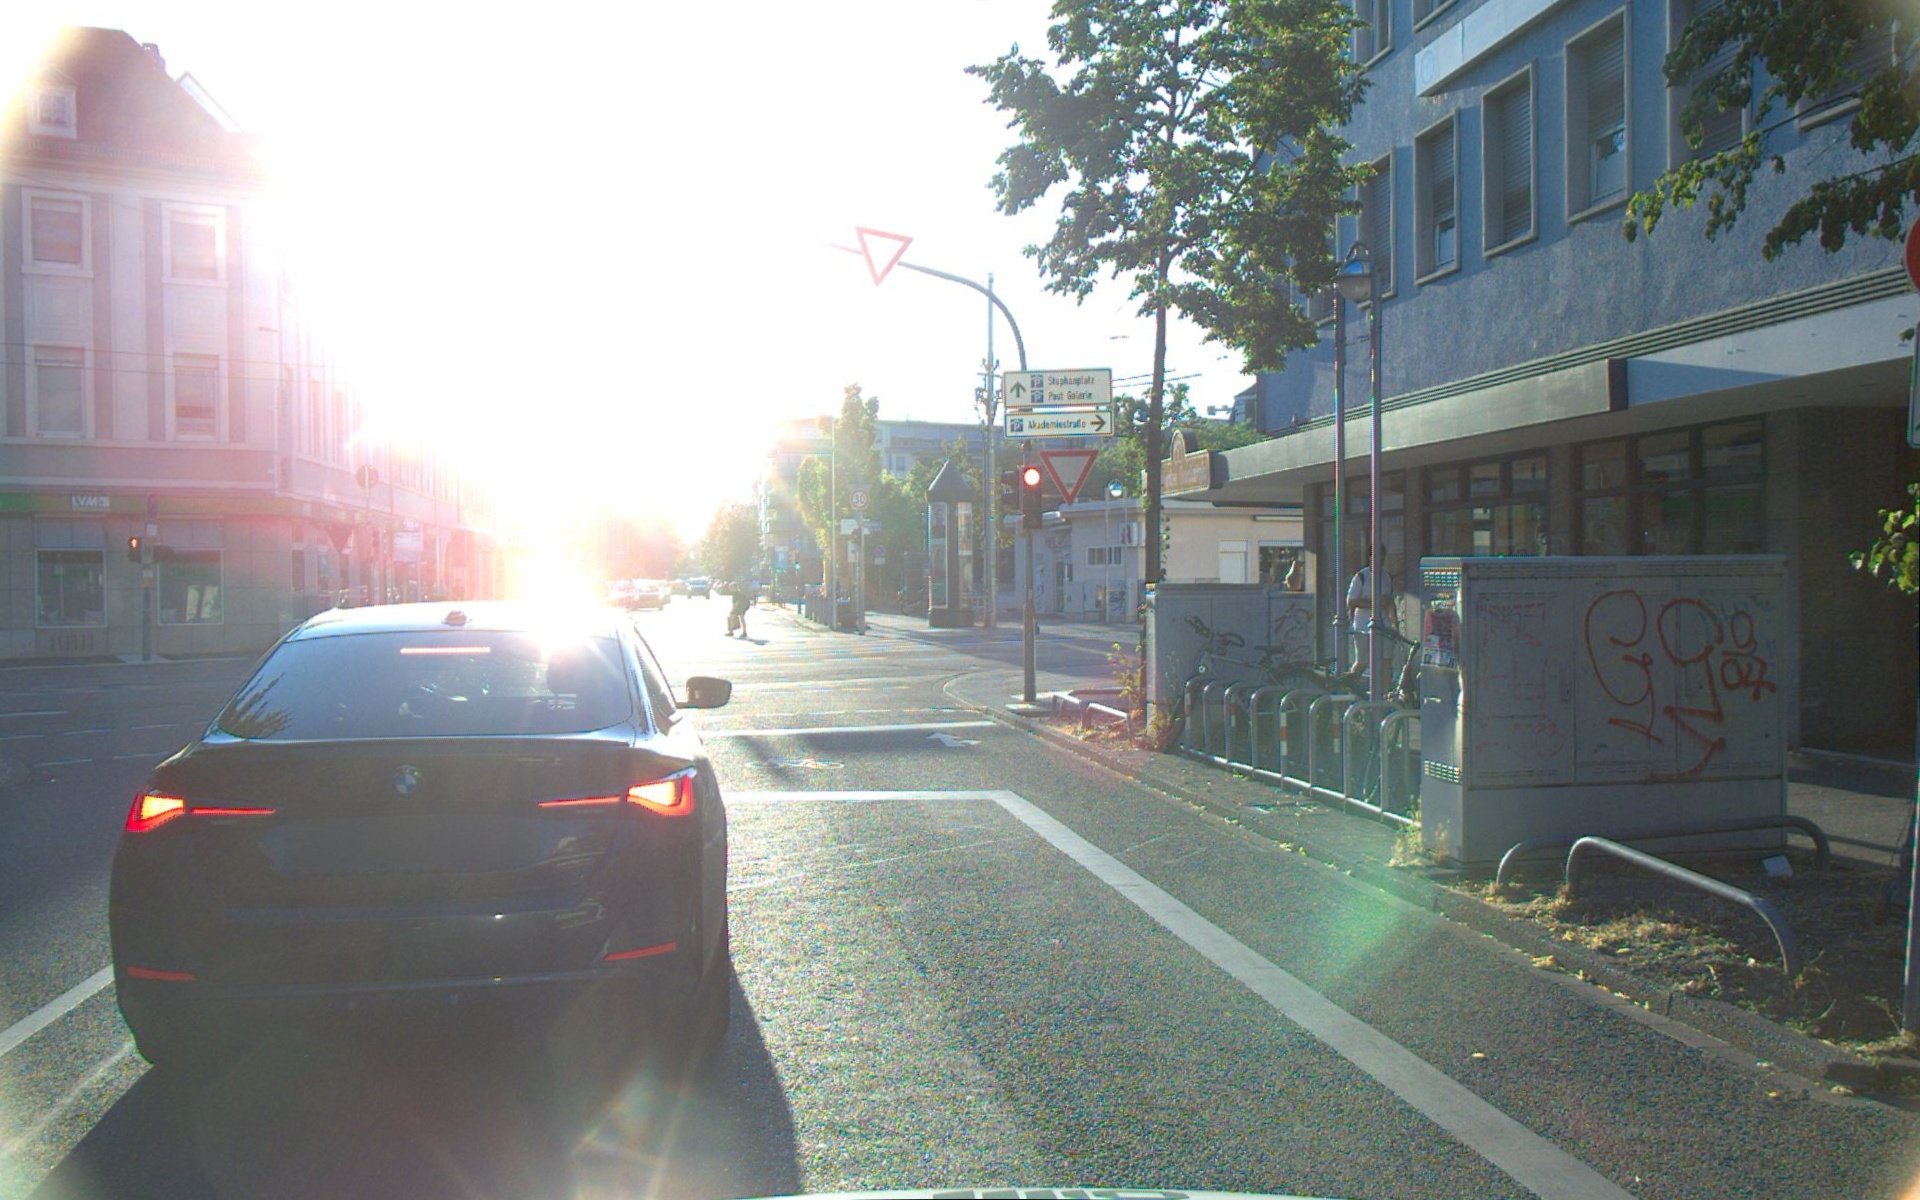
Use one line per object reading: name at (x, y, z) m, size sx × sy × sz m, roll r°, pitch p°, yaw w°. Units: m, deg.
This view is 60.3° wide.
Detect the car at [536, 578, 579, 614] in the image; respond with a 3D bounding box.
car at (-21.093, -0.209, 86.786) m, size 1.784 × 1.819 × 3.992 m, roll -1°, pitch 1°, yaw -9°

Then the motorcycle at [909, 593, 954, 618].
motorcycle at (-1.176, 0.222, 67.841) m, size 1.644 × 0.955 × 0.851 m, roll -1°, pitch 1°, yaw -20°

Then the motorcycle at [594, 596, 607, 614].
motorcycle at (-20.003, 0.280, 92.013) m, size 0.564 × 0.931 × 2.196 m, roll 1°, pitch 0°, yaw -8°

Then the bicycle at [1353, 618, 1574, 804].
bicycle at (3.466, 0.761, 11.409) m, size 1.413 × 1.241 × 0.383 m, roll 1°, pitch 0°, yaw -8°

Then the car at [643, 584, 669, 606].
car at (-22.555, -0.408, 122.844) m, size 1.784 × 1.545 × 3.992 m, roll -1°, pitch 1°, yaw -9°

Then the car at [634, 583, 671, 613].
car at (-16.715, -0.141, 90.019) m, size 1.784 × 1.545 × 3.992 m, roll -1°, pitch 1°, yaw -9°

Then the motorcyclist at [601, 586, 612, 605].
motorcyclist at (-19.128, -0.235, 89.499) m, size 0.564 × 1.013 × 0.701 m, roll 1°, pitch 0°, yaw -9°

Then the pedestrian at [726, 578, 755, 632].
pedestrian at (-6.411, 0.139, 48.320) m, size 0.724 × 1.555 × 0.468 m, roll 1°, pitch 0°, yaw -29°

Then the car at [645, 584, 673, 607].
car at (-20.651, -0.326, 113.578) m, size 1.784 × 1.545 × 3.992 m, roll -1°, pitch 1°, yaw -9°

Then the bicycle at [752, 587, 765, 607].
bicycle at (-12.125, -0.185, 99.358) m, size 0.540 × 1.179 × 2.137 m, roll 1°, pitch 0°, yaw -13°

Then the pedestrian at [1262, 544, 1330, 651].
pedestrian at (6.193, -0.054, 30.471) m, size 0.990 × 1.892 × 0.634 m, roll -4°, pitch 2°, yaw -29°

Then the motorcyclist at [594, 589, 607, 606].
motorcyclist at (-19.968, -0.148, 91.892) m, size 0.564 × 0.931 × 2.196 m, roll 1°, pitch 0°, yaw -8°

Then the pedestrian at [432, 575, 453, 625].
pedestrian at (-19.863, 0.011, 63.514) m, size 0.631 × 1.909 × 0.630 m, roll 1°, pitch 0°, yaw -9°

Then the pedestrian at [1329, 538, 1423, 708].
pedestrian at (4.708, 0.249, 18.740) m, size 0.820 × 1.874 × 0.677 m, roll -1°, pitch 0°, yaw -9°

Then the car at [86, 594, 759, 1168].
car at (-1.745, 0.715, 6.462) m, size 1.705 × 1.453 × 4.214 m, roll 0°, pitch 0°, yaw -10°

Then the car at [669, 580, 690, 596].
car at (-29.550, -1.308, 174.082) m, size 1.956 × 1.579 × 3.994 m, roll -2°, pitch 1°, yaw -7°

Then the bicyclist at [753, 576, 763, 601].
bicyclist at (-12.136, -0.709, 99.450) m, size 0.540 × 1.507 × 0.720 m, roll 1°, pitch 0°, yaw -14°

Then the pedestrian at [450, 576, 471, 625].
pedestrian at (-19.283, 0.019, 63.889) m, size 0.664 × 1.909 × 0.616 m, roll 1°, pitch 0°, yaw -9°

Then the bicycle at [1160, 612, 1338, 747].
bicycle at (2.649, 0.722, 15.192) m, size 1.582 × 1.191 × 0.318 m, roll -1°, pitch 0°, yaw -7°

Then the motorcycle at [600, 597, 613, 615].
motorcycle at (-19.146, 0.306, 89.565) m, size 0.564 × 0.931 × 2.196 m, roll 1°, pitch 0°, yaw -8°

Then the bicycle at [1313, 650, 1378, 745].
bicycle at (3.577, 0.891, 15.398) m, size 0.244 × 0.810 × 1.114 m, roll 1°, pitch 0°, yaw -5°

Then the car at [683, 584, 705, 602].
car at (-23.652, -0.595, 147.157) m, size 1.784 × 1.545 × 3.992 m, roll -1°, pitch 1°, yaw -9°
